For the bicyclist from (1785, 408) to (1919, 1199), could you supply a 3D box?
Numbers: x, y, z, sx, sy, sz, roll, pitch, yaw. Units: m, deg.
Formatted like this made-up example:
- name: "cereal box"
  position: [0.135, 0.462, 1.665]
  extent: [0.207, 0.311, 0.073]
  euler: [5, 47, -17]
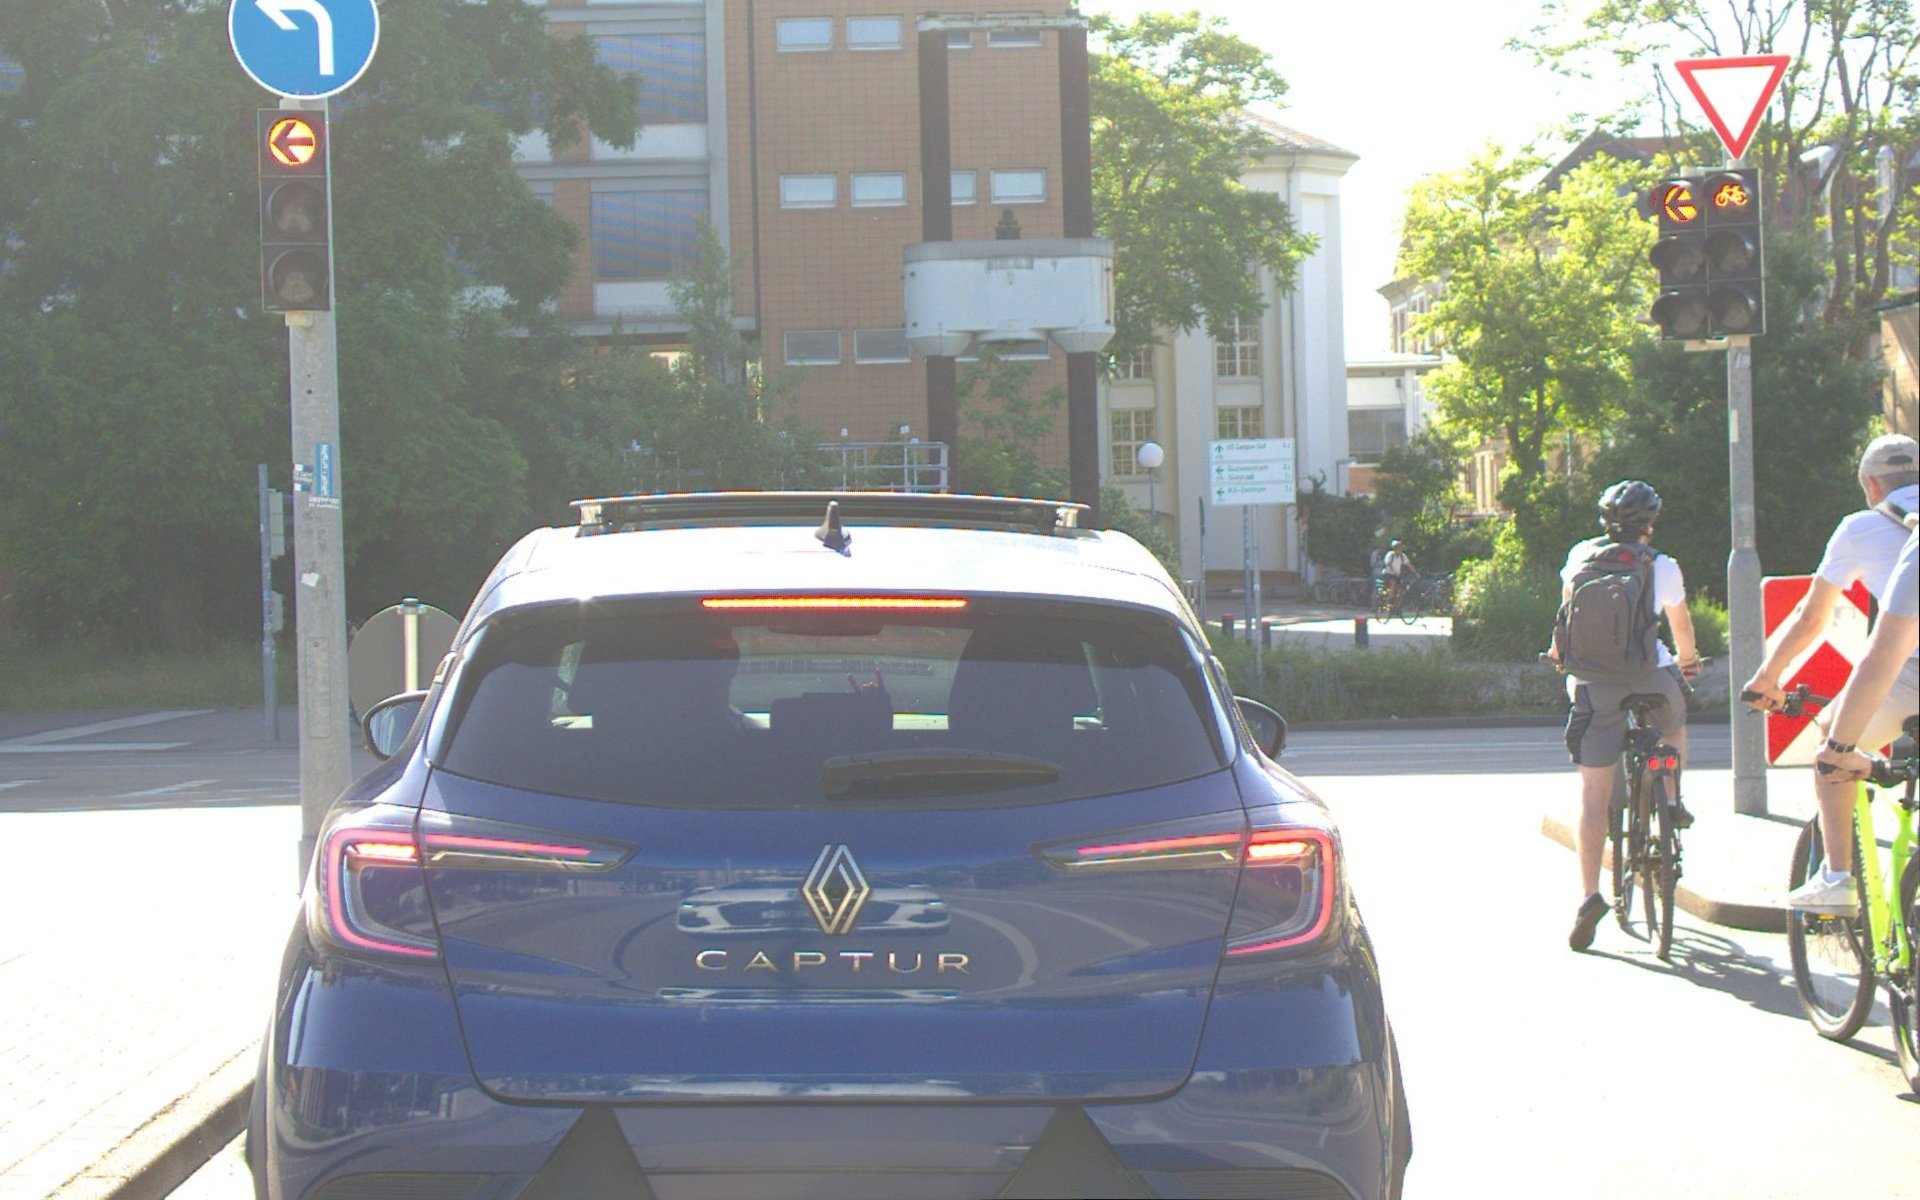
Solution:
- name: "bicyclist"
  position: [2.249, 0.502, 7.346]
  extent: [0.683, 1.785, 1.142]
  euler: [0, 1, -1]

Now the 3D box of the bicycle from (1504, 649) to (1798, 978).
- name: "bicycle"
  position: [2.542, 0.750, 12.850]
  extent: [0.689, 1.085, 1.922]
  euler: [0, 1, -1]

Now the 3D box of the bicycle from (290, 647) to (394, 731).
- name: "bicycle"
  position: [-7.882, 1.122, 43.914]
  extent: [0.755, 0.981, 2.093]
  euler: [-1, 1, 5]

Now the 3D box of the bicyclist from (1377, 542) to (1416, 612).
- name: "bicyclist"
  position: [9.405, -0.494, 74.134]
  extent: [0.694, 1.476, 0.717]
  euler: [-1, 1, -2]

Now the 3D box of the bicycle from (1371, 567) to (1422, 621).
- name: "bicycle"
  position: [9.407, -0.140, 74.136]
  extent: [0.694, 1.136, 2.441]
  euler: [-1, 1, -2]

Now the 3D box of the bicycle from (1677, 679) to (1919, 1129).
- name: "bicycle"
  position: [2.597, 0.802, 9.781]
  extent: [0.689, 1.085, 1.922]
  euler: [0, 1, -1]

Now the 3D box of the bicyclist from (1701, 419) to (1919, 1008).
- name: "bicyclist"
  position: [2.594, 0.299, 9.858]
  extent: [0.678, 1.589, 1.142]
  euler: [0, 1, -1]

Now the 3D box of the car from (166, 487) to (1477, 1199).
- name: "car"
  position: [-0.266, 0.612, 6.657]
  extent: [1.788, 1.580, 3.915]
  euler: [0, 1, -2]

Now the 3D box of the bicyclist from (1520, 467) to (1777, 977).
- name: "bicyclist"
  position: [2.503, 0.420, 12.602]
  extent: [0.699, 1.785, 1.142]
  euler: [0, 1, -1]

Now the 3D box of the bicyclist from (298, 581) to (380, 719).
- name: "bicyclist"
  position: [-7.903, 0.627, 43.803]
  extent: [0.755, 1.710, 0.998]
  euler: [-1, 1, 5]

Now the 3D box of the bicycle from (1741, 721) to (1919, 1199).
- name: "bicycle"
  position: [2.246, 0.847, 7.357]
  extent: [0.689, 1.085, 1.922]
  euler: [0, 1, -1]
